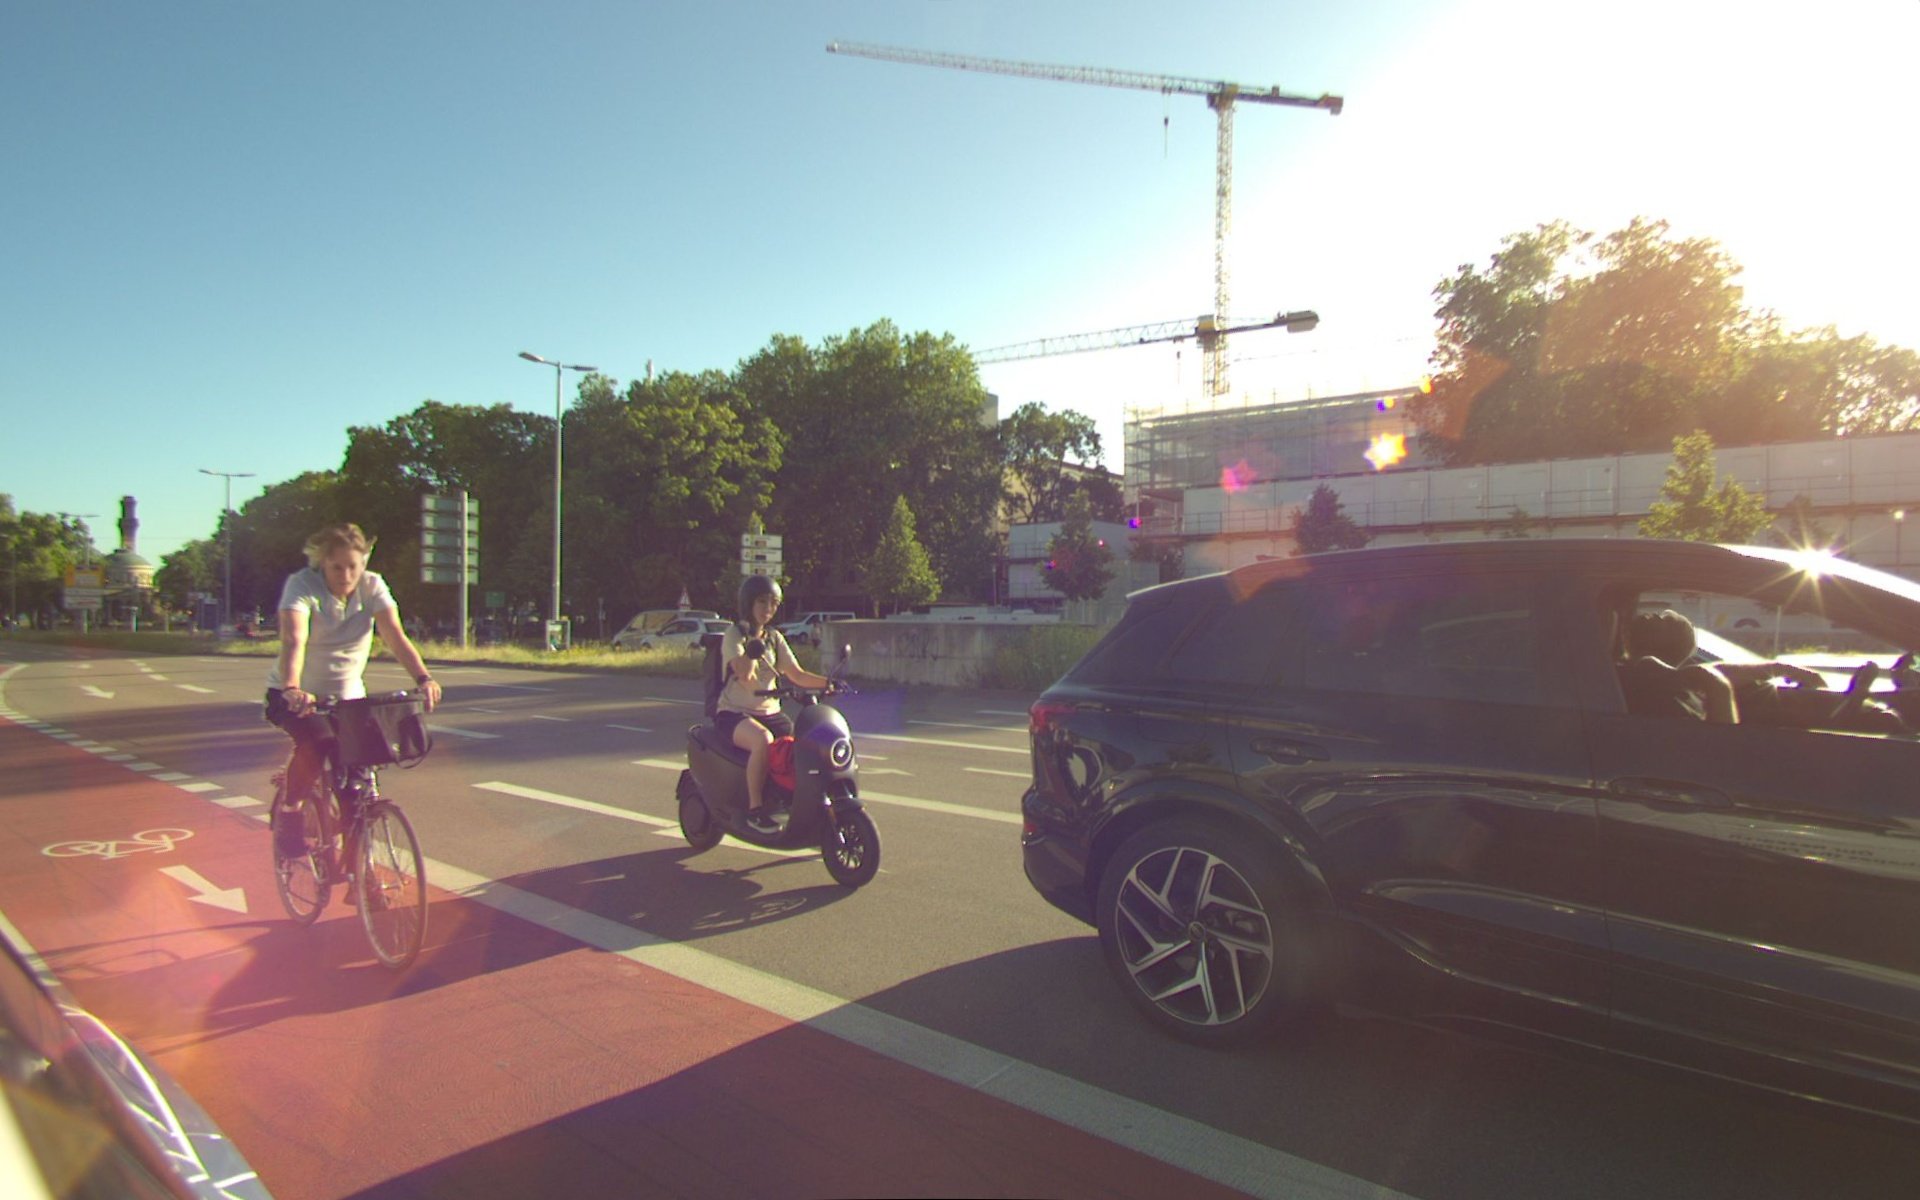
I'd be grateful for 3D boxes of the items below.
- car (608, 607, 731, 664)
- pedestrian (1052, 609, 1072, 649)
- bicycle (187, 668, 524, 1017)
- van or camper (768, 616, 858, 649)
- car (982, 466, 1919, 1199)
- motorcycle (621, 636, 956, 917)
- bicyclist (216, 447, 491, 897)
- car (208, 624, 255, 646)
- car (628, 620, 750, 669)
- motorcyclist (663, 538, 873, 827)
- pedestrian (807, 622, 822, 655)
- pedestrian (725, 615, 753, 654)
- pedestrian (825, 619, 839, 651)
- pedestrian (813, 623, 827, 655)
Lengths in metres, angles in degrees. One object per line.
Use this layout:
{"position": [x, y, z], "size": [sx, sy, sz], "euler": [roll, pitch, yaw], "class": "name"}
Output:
{"position": [-10.719, 1.281, 37.134], "size": [4.925, 1.937, 1.863], "euler": [-1, -2, 39], "class": "car"}
{"position": [4.151, 1.185, 41.184], "size": [0.597, 1.614, 0.580], "euler": [-1, 0, 38], "class": "pedestrian"}
{"position": [-2.739, 0.917, 4.491], "size": [1.890, 1.156, 0.731], "euler": [-1, -2, 41], "class": "bicycle"}
{"position": [-8.954, 1.957, 61.887], "size": [1.951, 1.960, 5.425], "euler": [-2, -2, 44], "class": "van or camper"}
{"position": [2.562, 0.573, 3.171], "size": [4.660, 1.720, 2.144], "euler": [-1, -1, 39], "class": "car"}
{"position": [-1.018, 0.858, 5.695], "size": [1.943, 1.290, 0.817], "euler": [-1, -2, 41], "class": "motorcycle"}
{"position": [-2.661, 0.284, 4.451], "size": [0.851, 1.713, 0.797], "euler": [-1, -2, 41], "class": "bicyclist"}
{"position": [-51.206, 2.420, 71.110], "size": [3.979, 1.492, 1.857], "euler": [-1, -2, 41], "class": "car"}
{"position": [-8.353, 1.328, 31.055], "size": [3.941, 1.387, 1.705], "euler": [-1, -2, 41], "class": "car"}
{"position": [-1.094, 0.433, 5.776], "size": [0.877, 1.475, 0.813], "euler": [-1, -2, 41], "class": "motorcyclist"}
{"position": [-6.805, 1.796, 47.366], "size": [0.494, 1.522, 0.492], "euler": [-1, -2, 41], "class": "pedestrian"}
{"position": [-11.494, 1.779, 52.657], "size": [0.815, 1.978, 1.111], "euler": [-1, 0, 41], "class": "pedestrian"}
{"position": [-6.202, 1.679, 49.035], "size": [0.494, 1.522, 0.492], "euler": [-1, -2, 41], "class": "pedestrian"}
{"position": [-6.691, 1.859, 48.372], "size": [0.494, 1.522, 0.492], "euler": [-1, -2, 41], "class": "pedestrian"}
